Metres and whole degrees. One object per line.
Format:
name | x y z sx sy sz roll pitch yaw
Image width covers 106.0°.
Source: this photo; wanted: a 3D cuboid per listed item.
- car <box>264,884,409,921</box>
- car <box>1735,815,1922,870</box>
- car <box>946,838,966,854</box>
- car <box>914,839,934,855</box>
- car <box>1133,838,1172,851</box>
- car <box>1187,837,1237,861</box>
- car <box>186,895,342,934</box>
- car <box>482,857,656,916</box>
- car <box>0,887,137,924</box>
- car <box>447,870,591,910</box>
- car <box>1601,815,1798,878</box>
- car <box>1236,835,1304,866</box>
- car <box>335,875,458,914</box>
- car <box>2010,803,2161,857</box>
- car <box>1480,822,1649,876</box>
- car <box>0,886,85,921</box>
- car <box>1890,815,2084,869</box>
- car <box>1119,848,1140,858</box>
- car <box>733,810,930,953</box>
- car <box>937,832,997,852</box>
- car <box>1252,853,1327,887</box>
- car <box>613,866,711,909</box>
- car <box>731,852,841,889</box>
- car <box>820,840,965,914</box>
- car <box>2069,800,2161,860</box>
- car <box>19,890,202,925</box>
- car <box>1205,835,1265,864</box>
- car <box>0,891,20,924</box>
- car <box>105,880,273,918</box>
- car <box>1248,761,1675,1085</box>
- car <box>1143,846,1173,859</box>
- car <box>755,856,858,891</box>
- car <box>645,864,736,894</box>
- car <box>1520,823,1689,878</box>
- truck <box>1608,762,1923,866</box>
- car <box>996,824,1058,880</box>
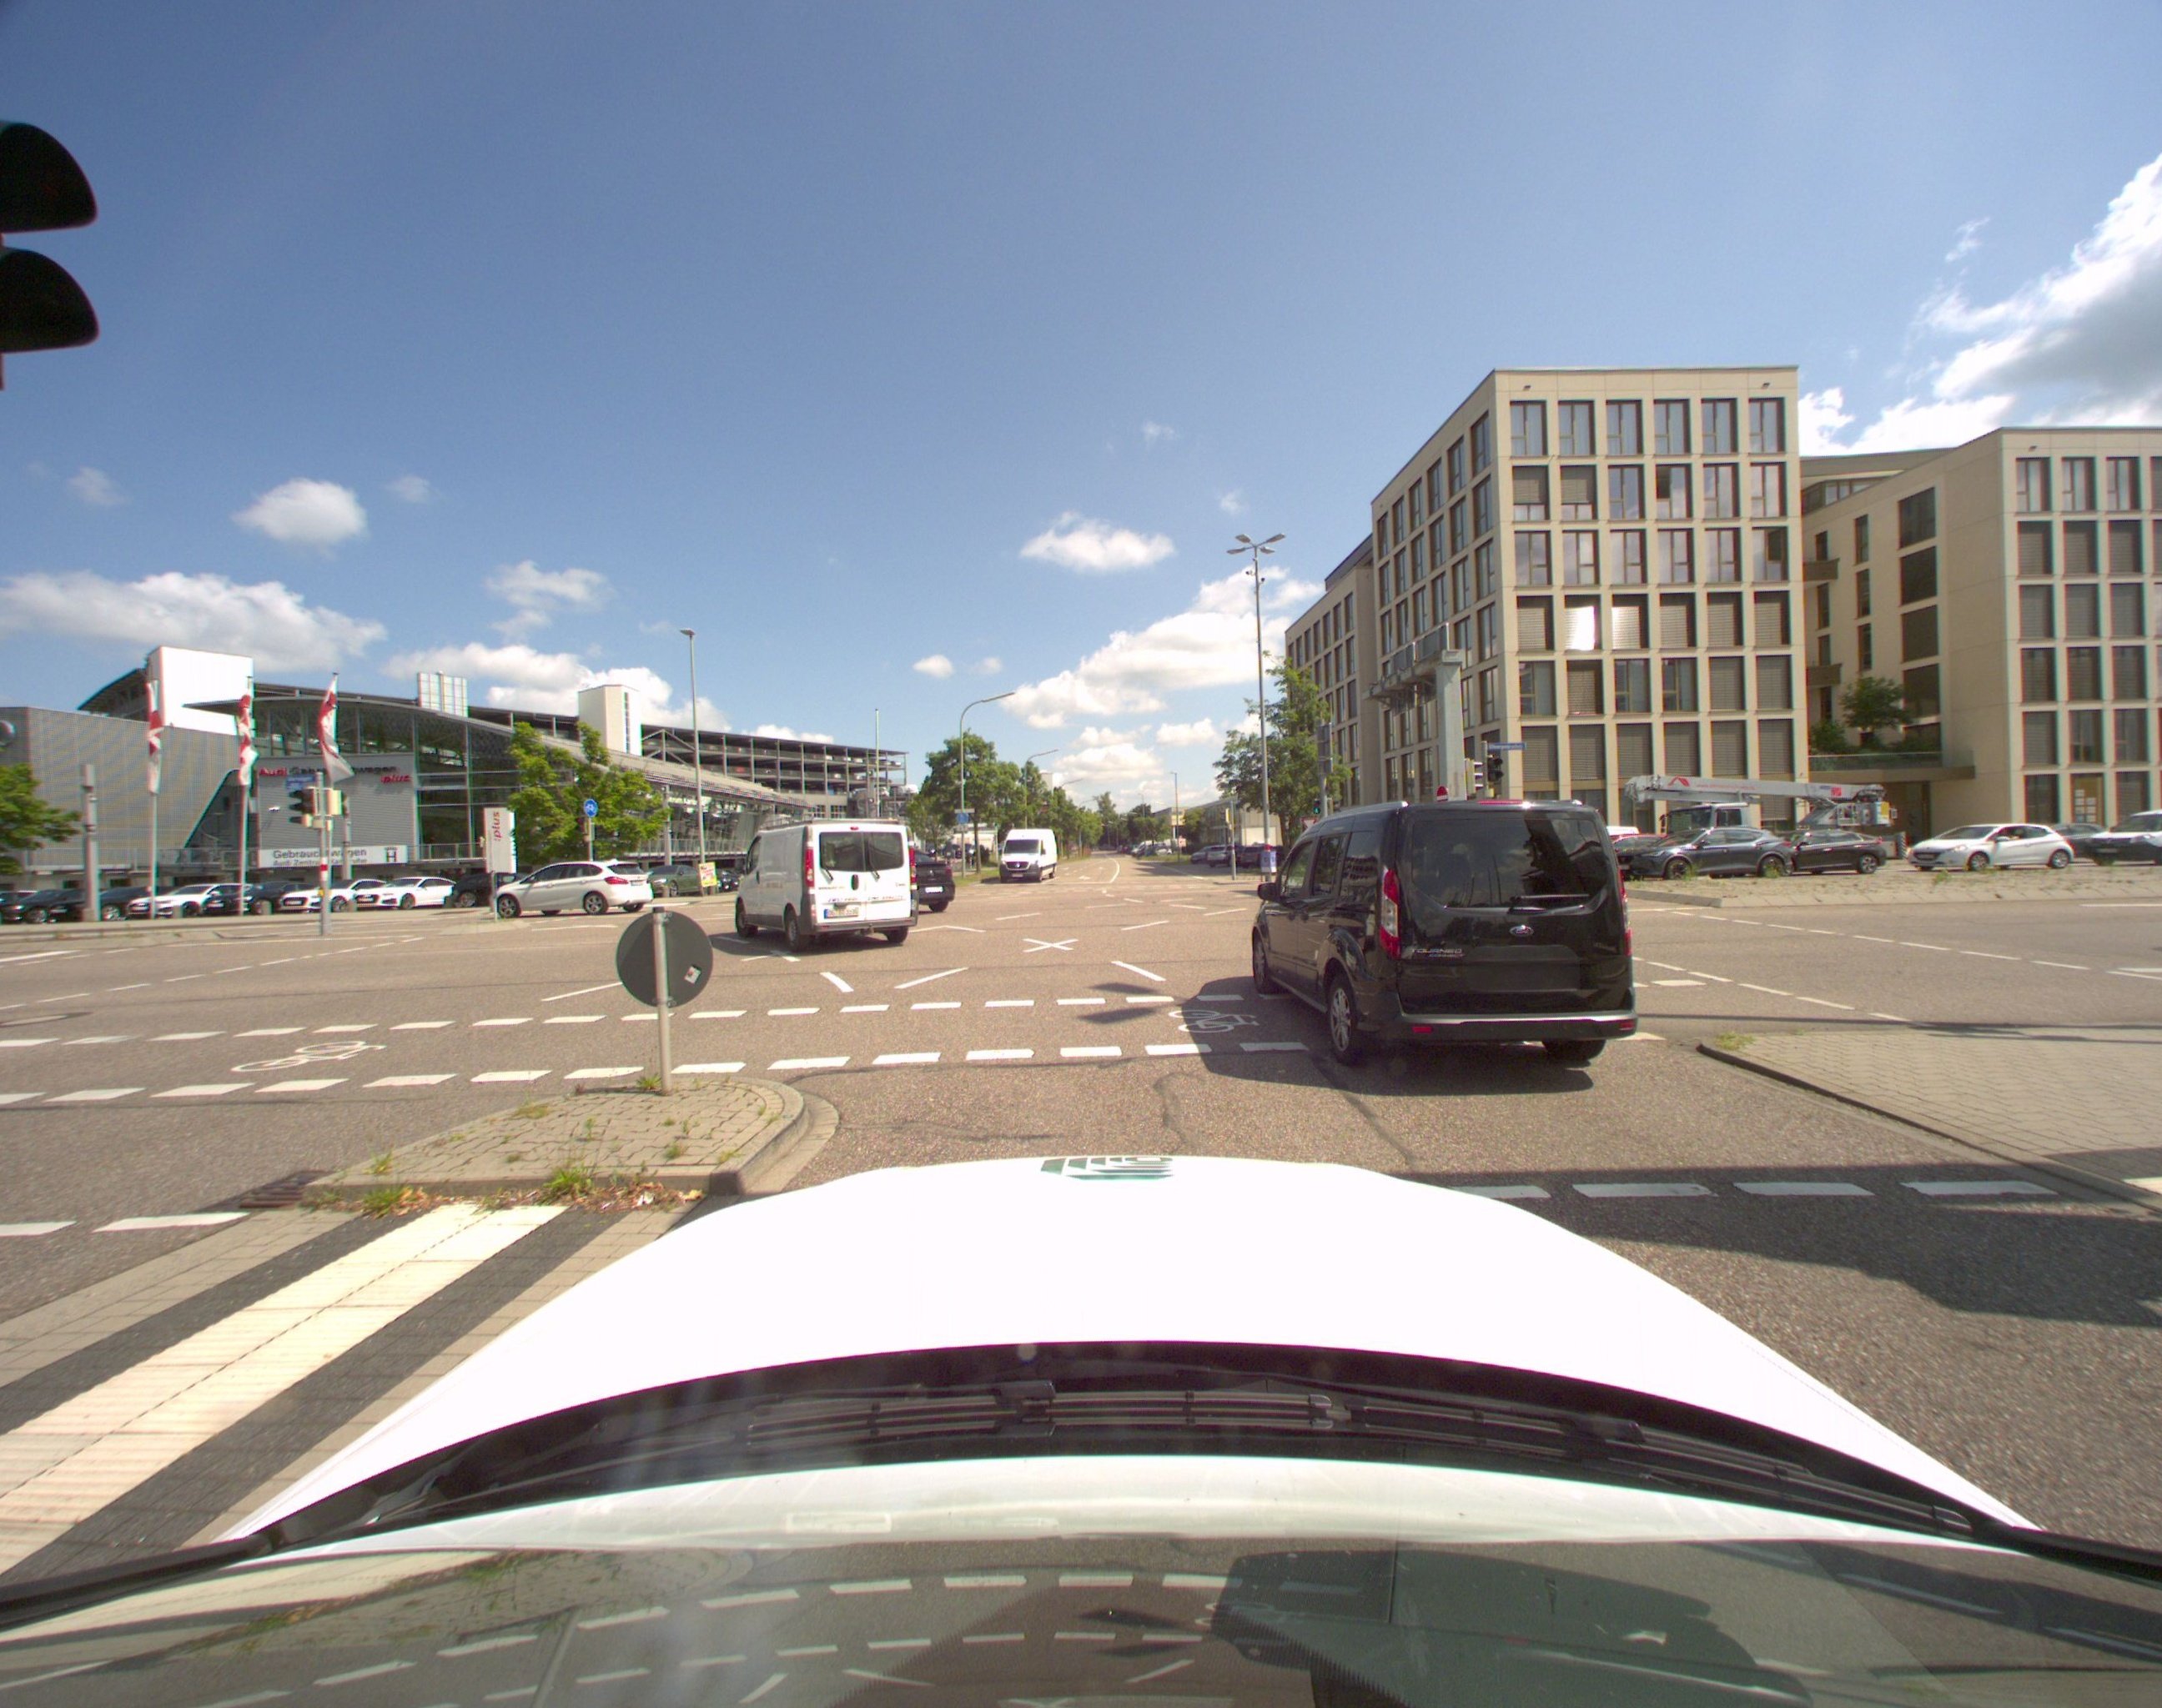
car | -30.602 1.939 33.696 1.896 1.297 4.585 -1 -1 -2
car | 23.412 -0.325 25.626 4.183 1.627 1.828 -1 -1 0
car | -12.696 -0.755 82.837 1.557 1.552 3.598 -1 -1 -3
car | -16.048 -0.723 83.428 1.557 1.552 3.598 0 -1 -3
car | 11.989 -1.558 136.392 6.320 2.014 2.572 -1 -1 0
car | 11.545 -0.408 71.879 3.982 2.014 1.996 0 -1 -6
car | -33.397 2.417 33.504 1.896 1.297 4.585 -1 -1 -2
car | -14.800 0.912 23.650 3.968 1.618 1.780 -1 -1 5
car | -41.577 2.021 32.765 1.896 1.384 4.585 -1 -2 -2
car | -23.794 1.539 34.614 4.730 1.464 1.793 -2 -3 -4
car | 16.892 -0.200 22.369 4.192 1.627 1.824 0 -1 -6
car | 12.561 -0.219 54.314 3.982 2.014 1.996 0 -1 -6
car | -28.090 1.678 33.606 1.786 1.464 3.995 -2 -3 -2
car | 37.091 -0.843 29.647 4.416 1.838 1.828 -1 -1 0
car | 17.221 -0.172 29.123 4.969 1.838 1.996 0 -1 -6
car | -44.277 2.030 33.105 1.896 1.405 4.584 -1 -3 -2
car | 28.593 -0.364 25.784 4.186 1.627 1.827 -1 -1 -2
car | 9.719 -0.178 164.796 3.982 2.014 1.996 0 -1 -6
car | -4.483 0.410 14.120 1.988 2.060 4.515 -1 0 -35
car | -12.610 -1.351 90.294 6.373 2.102 1.763 -1 -1 -3
car | 12.758 0.952 49.941 3.982 2.014 1.996 0 -1 -6
car | -17.664 1.365 34.596 1.896 1.678 4.585 -1 -1 -2
car | -14.035 0.765 38.951 4.562 1.678 1.906 -1 -1 -1
car | -4.700 0.523 19.985 1.789 1.629 3.952 -1 0 -42
car | 34.802 -0.748 25.938 4.416 1.838 1.828 -1 -1 0
car | -39.072 2.164 33.002 1.896 1.298 4.584 -1 -4 -2
car | 11.257 -0.323 59.715 3.982 2.014 1.996 0 -1 -6
car | -46.810 2.243 32.906 1.896 1.405 4.585 -1 -2 -2
car | -36.195 1.784 33.260 1.896 1.297 4.585 -1 -1 -2
car | 2.679 0.418 6.874 1.816 1.905 4.002 -1 0 2
car | 10.556 -0.204 111.537 3.975 1.750 1.999 -1 -1 -1
car | -13.929 0.995 41.518 4.562 1.678 1.906 -1 -1 -1
car | -23.695 1.524 49.510 4.530 1.740 1.997 0 -1 -5
car | 16.190 -0.096 25.294 4.192 1.627 1.824 0 -1 -6
truck | 24.652 -1.398 29.529 9.736 3.555 2.670 0 -1 -6
car | -2.653 -0.061 41.838 2.123 2.607 6.872 -1 -1 5
